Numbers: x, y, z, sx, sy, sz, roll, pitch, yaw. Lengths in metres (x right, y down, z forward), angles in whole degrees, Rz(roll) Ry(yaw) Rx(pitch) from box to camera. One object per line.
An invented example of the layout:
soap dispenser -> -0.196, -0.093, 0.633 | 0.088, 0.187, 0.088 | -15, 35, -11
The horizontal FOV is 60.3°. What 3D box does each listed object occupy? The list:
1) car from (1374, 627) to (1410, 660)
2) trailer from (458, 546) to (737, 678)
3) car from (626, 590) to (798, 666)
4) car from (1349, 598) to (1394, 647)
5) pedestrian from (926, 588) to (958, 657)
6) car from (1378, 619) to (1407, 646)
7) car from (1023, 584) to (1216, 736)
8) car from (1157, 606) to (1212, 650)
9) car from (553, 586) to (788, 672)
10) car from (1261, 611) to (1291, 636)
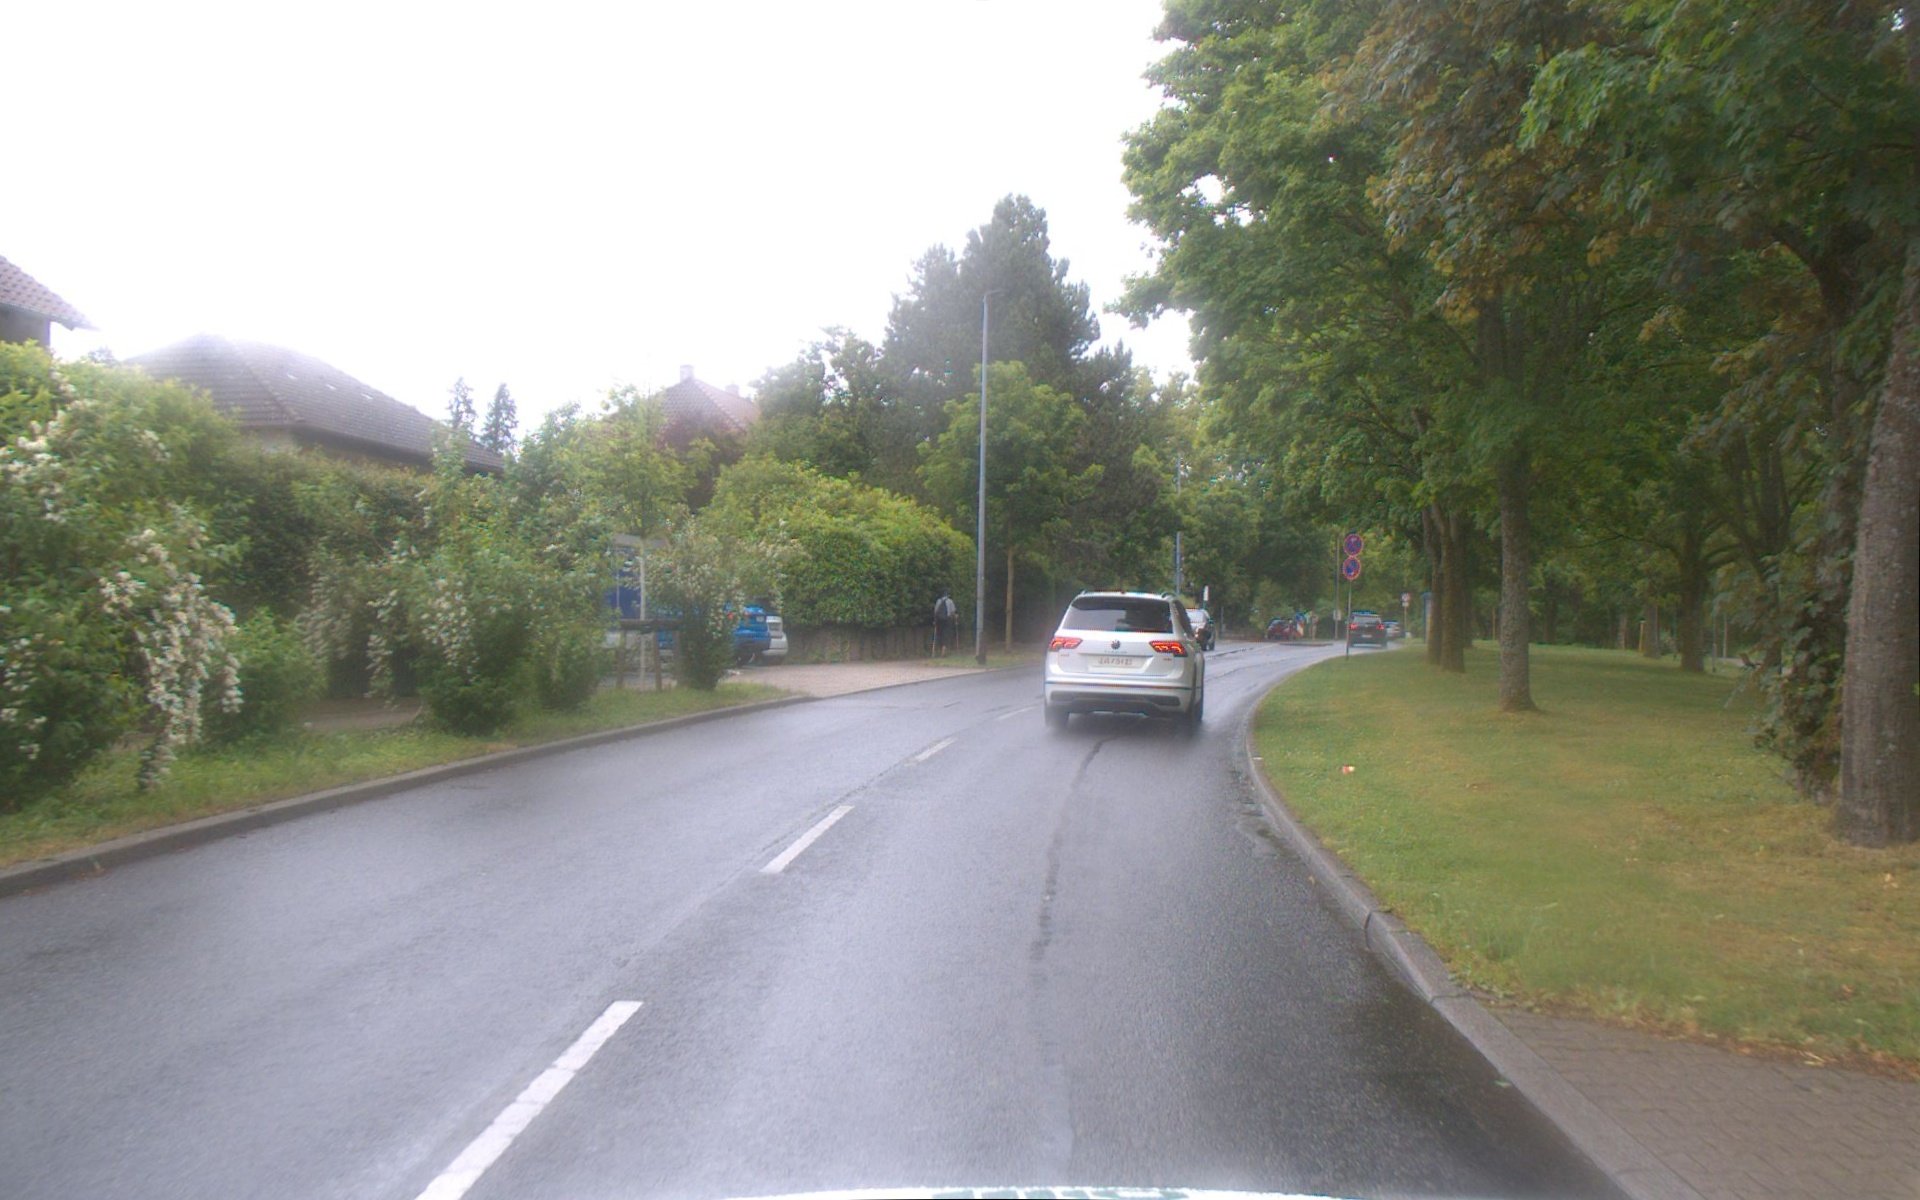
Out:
car -> 25.459, 2.564, 97.555 | 1.951, 1.790, 4.002 | 2, -2, 14
trailer -> -6.525, 0.206, 29.924 | 4.521, 2.209, 1.816 | 1, -1, 12
car -> -5.441, 0.609, 36.457 | 3.330, 1.545, 1.732 | 1, 0, 12
car -> 18.859, 1.053, 75.884 | 1.861, 2.049, 3.947 | 2, -2, 14
pedestrian -> -0.447, 0.565, 41.702 | 0.761, 1.691, 0.843 | 1, 0, 1
car -> 32.168, 2.455, 123.187 | 1.951, 1.836, 4.002 | 2, -2, 14
car -> 2.127, 0.697, 20.942 | 1.932, 1.682, 4.180 | 1, 0, 12
car -> 8.049, 0.973, 59.162 | 1.549, 1.503, 3.899 | 0, 0, 14
car -> -5.768, 0.572, 33.217 | 4.147, 1.566, 2.054 | 1, 0, 12
car -> 24.130, 1.812, 126.339 | 1.951, 1.793, 4.002 | 2, -2, 14
